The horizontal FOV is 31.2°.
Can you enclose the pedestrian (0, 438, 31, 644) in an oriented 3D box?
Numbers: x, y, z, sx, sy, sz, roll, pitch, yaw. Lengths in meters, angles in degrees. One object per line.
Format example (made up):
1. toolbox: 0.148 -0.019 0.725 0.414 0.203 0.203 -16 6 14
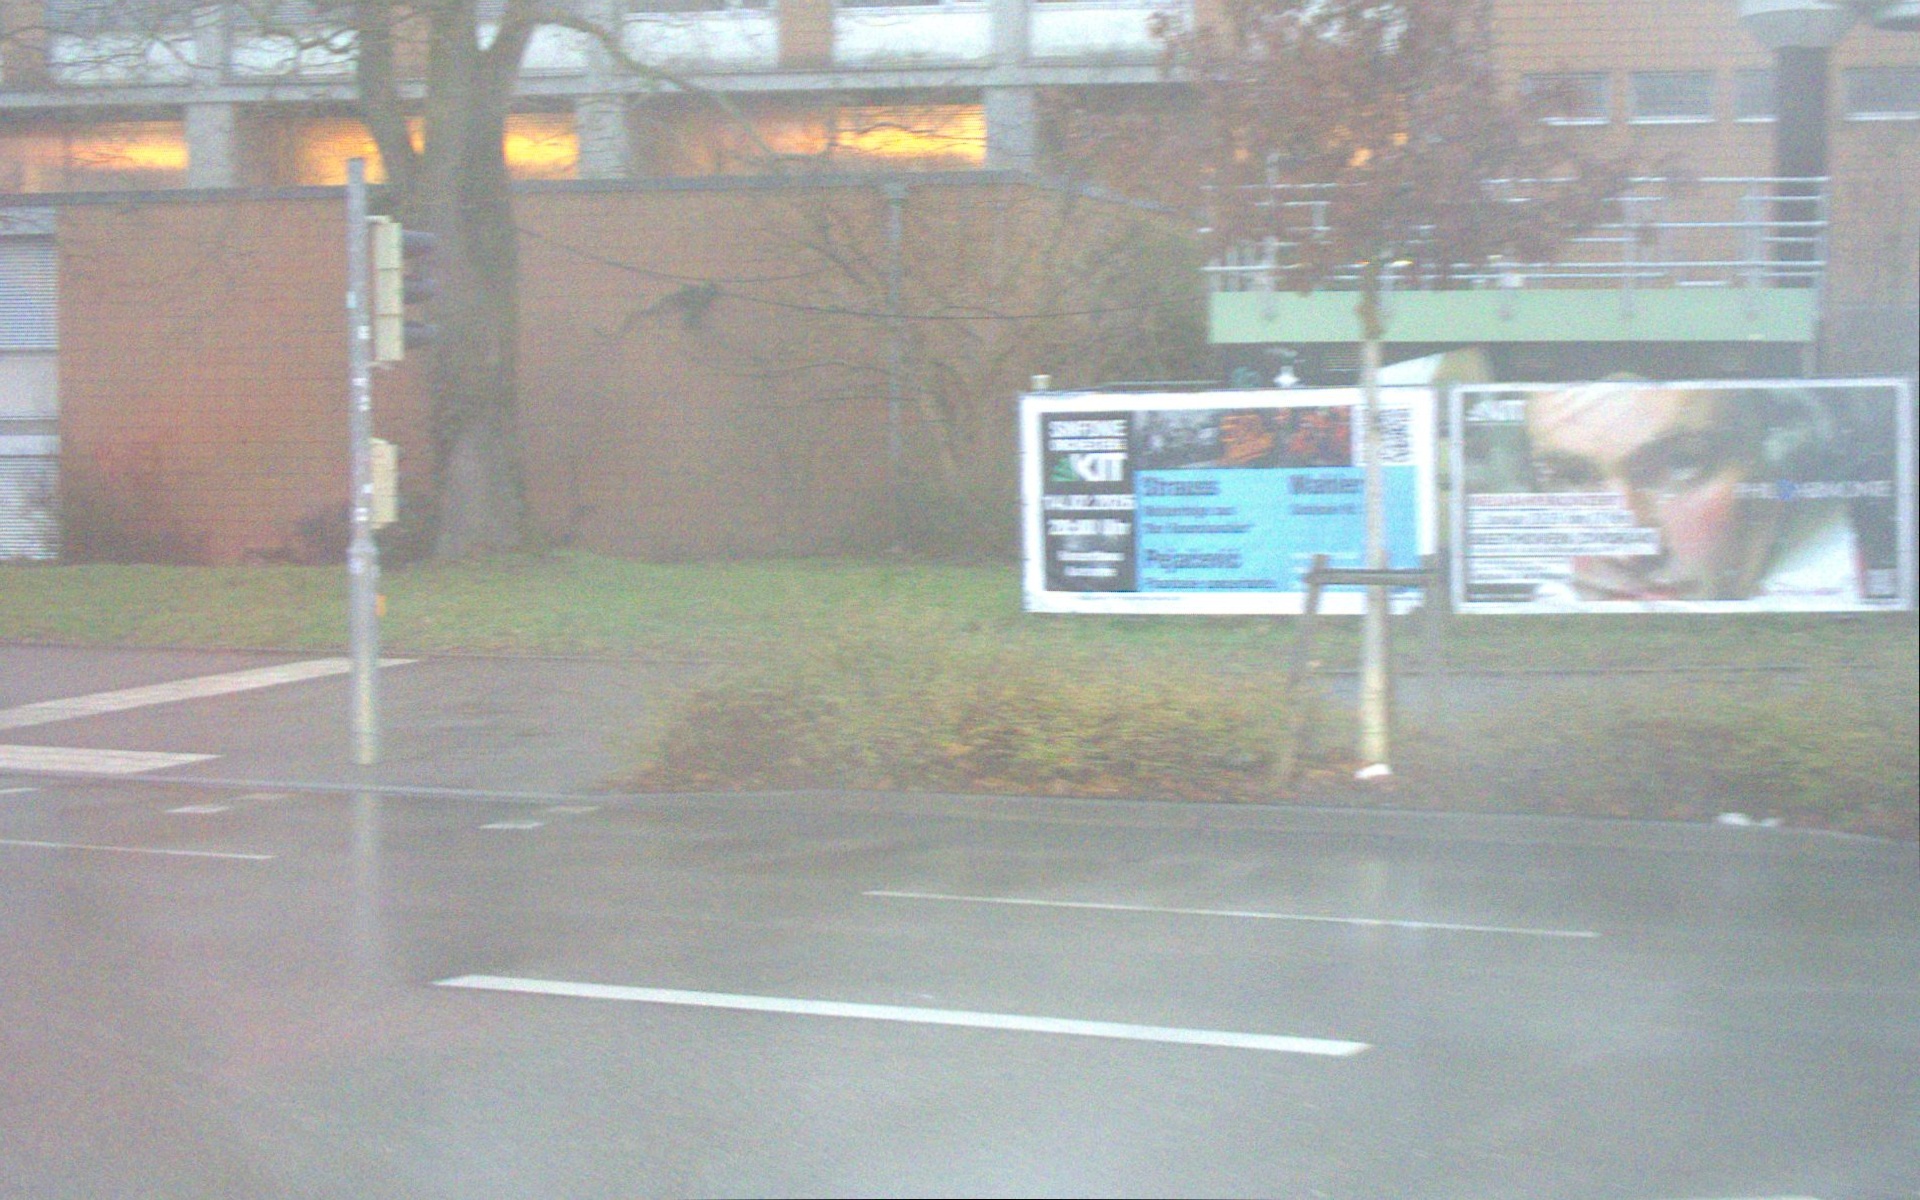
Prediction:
1. pedestrian: -8.382 -0.482 28.385 1.069 1.681 0.809 1 4 32
